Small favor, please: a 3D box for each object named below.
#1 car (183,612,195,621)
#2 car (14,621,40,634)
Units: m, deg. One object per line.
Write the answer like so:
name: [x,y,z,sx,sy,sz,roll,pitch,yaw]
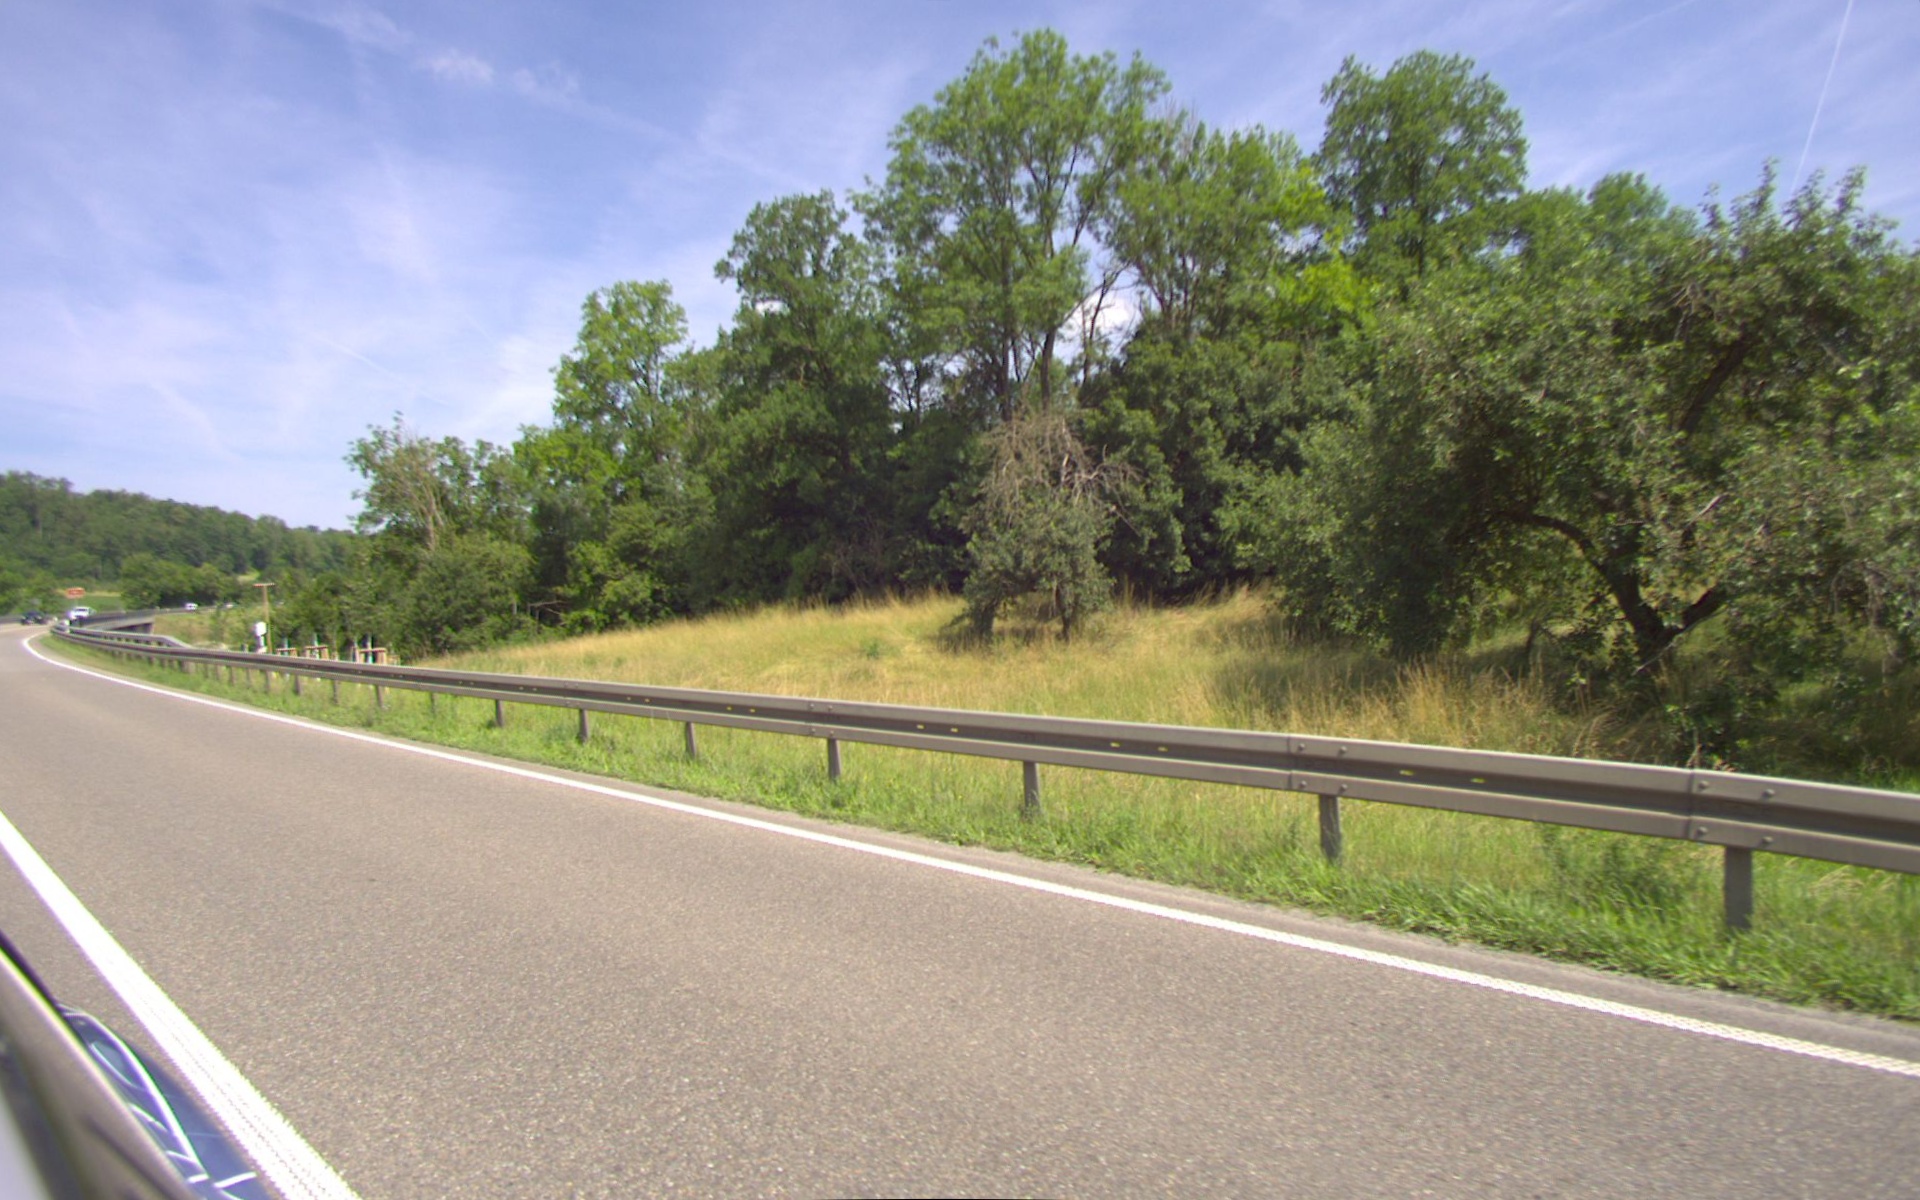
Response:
car: [-153.259,3.320,201.275,1.715,1.788,4.046,-1,0,-35]
car: [-109.004,3.216,118.240,1.715,1.465,4.046,-1,0,-35]
